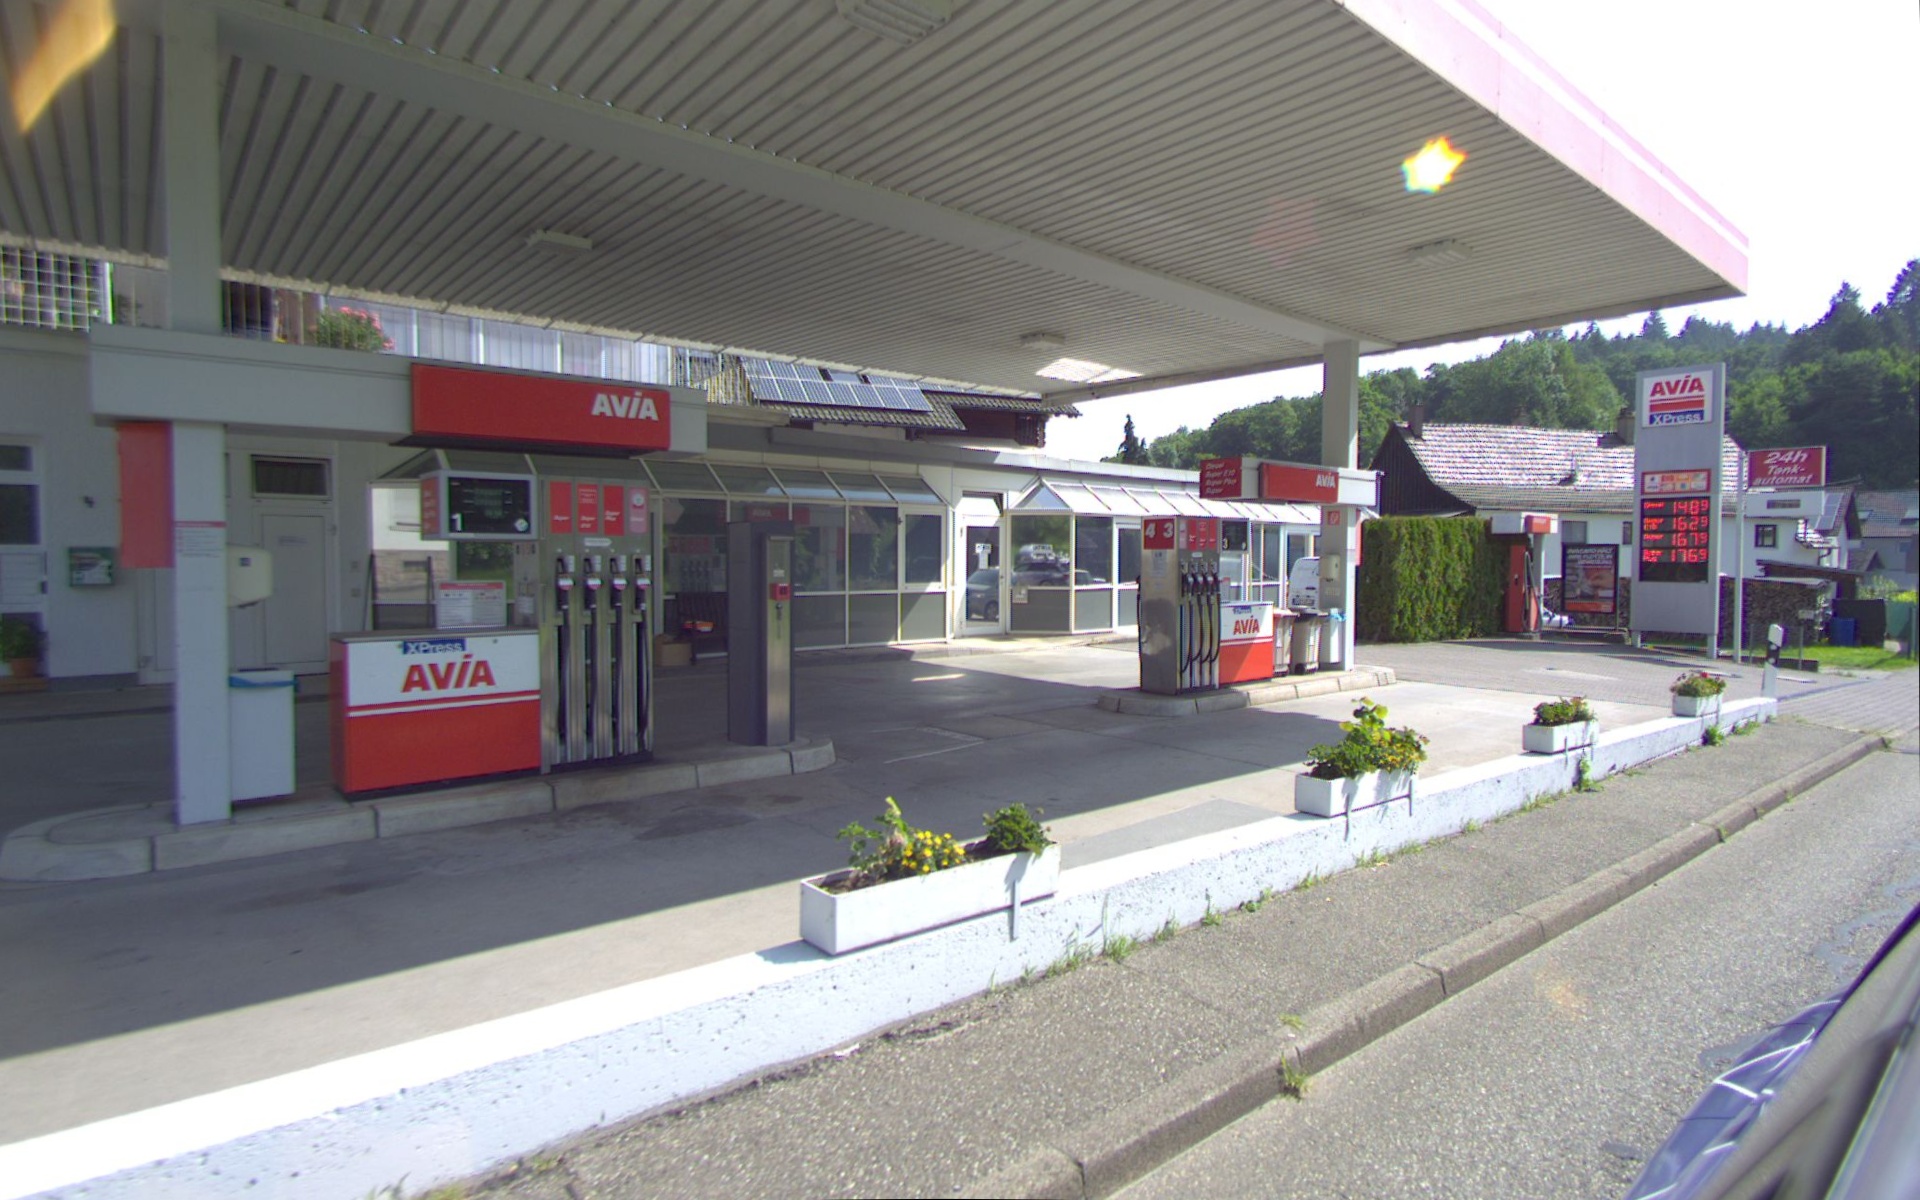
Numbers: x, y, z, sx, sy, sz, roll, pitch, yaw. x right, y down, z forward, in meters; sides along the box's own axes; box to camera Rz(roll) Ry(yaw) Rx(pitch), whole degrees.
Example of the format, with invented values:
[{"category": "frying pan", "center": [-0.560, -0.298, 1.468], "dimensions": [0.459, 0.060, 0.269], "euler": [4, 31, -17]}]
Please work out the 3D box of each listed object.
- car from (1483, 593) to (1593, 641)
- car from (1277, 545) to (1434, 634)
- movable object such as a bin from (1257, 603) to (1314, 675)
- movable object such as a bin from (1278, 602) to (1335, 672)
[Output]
[{"category": "car", "center": [19.598, 0.566, 34.308], "dimensions": [3.620, 1.515, 1.647], "euler": [1, 1, -30]}, {"category": "car", "center": [8.986, -0.243, 22.848], "dimensions": [3.931, 1.839, 1.683], "euler": [-1, 0, -41]}, {"category": "movable object such as a bin", "center": [4.015, 0.472, 12.501], "dimensions": [0.487, 0.856, 0.480], "euler": [1, 0, -42]}, {"category": "movable object such as a bin", "center": [4.400, 0.463, 12.863], "dimensions": [0.519, 0.856, 0.480], "euler": [1, 0, -42]}]
